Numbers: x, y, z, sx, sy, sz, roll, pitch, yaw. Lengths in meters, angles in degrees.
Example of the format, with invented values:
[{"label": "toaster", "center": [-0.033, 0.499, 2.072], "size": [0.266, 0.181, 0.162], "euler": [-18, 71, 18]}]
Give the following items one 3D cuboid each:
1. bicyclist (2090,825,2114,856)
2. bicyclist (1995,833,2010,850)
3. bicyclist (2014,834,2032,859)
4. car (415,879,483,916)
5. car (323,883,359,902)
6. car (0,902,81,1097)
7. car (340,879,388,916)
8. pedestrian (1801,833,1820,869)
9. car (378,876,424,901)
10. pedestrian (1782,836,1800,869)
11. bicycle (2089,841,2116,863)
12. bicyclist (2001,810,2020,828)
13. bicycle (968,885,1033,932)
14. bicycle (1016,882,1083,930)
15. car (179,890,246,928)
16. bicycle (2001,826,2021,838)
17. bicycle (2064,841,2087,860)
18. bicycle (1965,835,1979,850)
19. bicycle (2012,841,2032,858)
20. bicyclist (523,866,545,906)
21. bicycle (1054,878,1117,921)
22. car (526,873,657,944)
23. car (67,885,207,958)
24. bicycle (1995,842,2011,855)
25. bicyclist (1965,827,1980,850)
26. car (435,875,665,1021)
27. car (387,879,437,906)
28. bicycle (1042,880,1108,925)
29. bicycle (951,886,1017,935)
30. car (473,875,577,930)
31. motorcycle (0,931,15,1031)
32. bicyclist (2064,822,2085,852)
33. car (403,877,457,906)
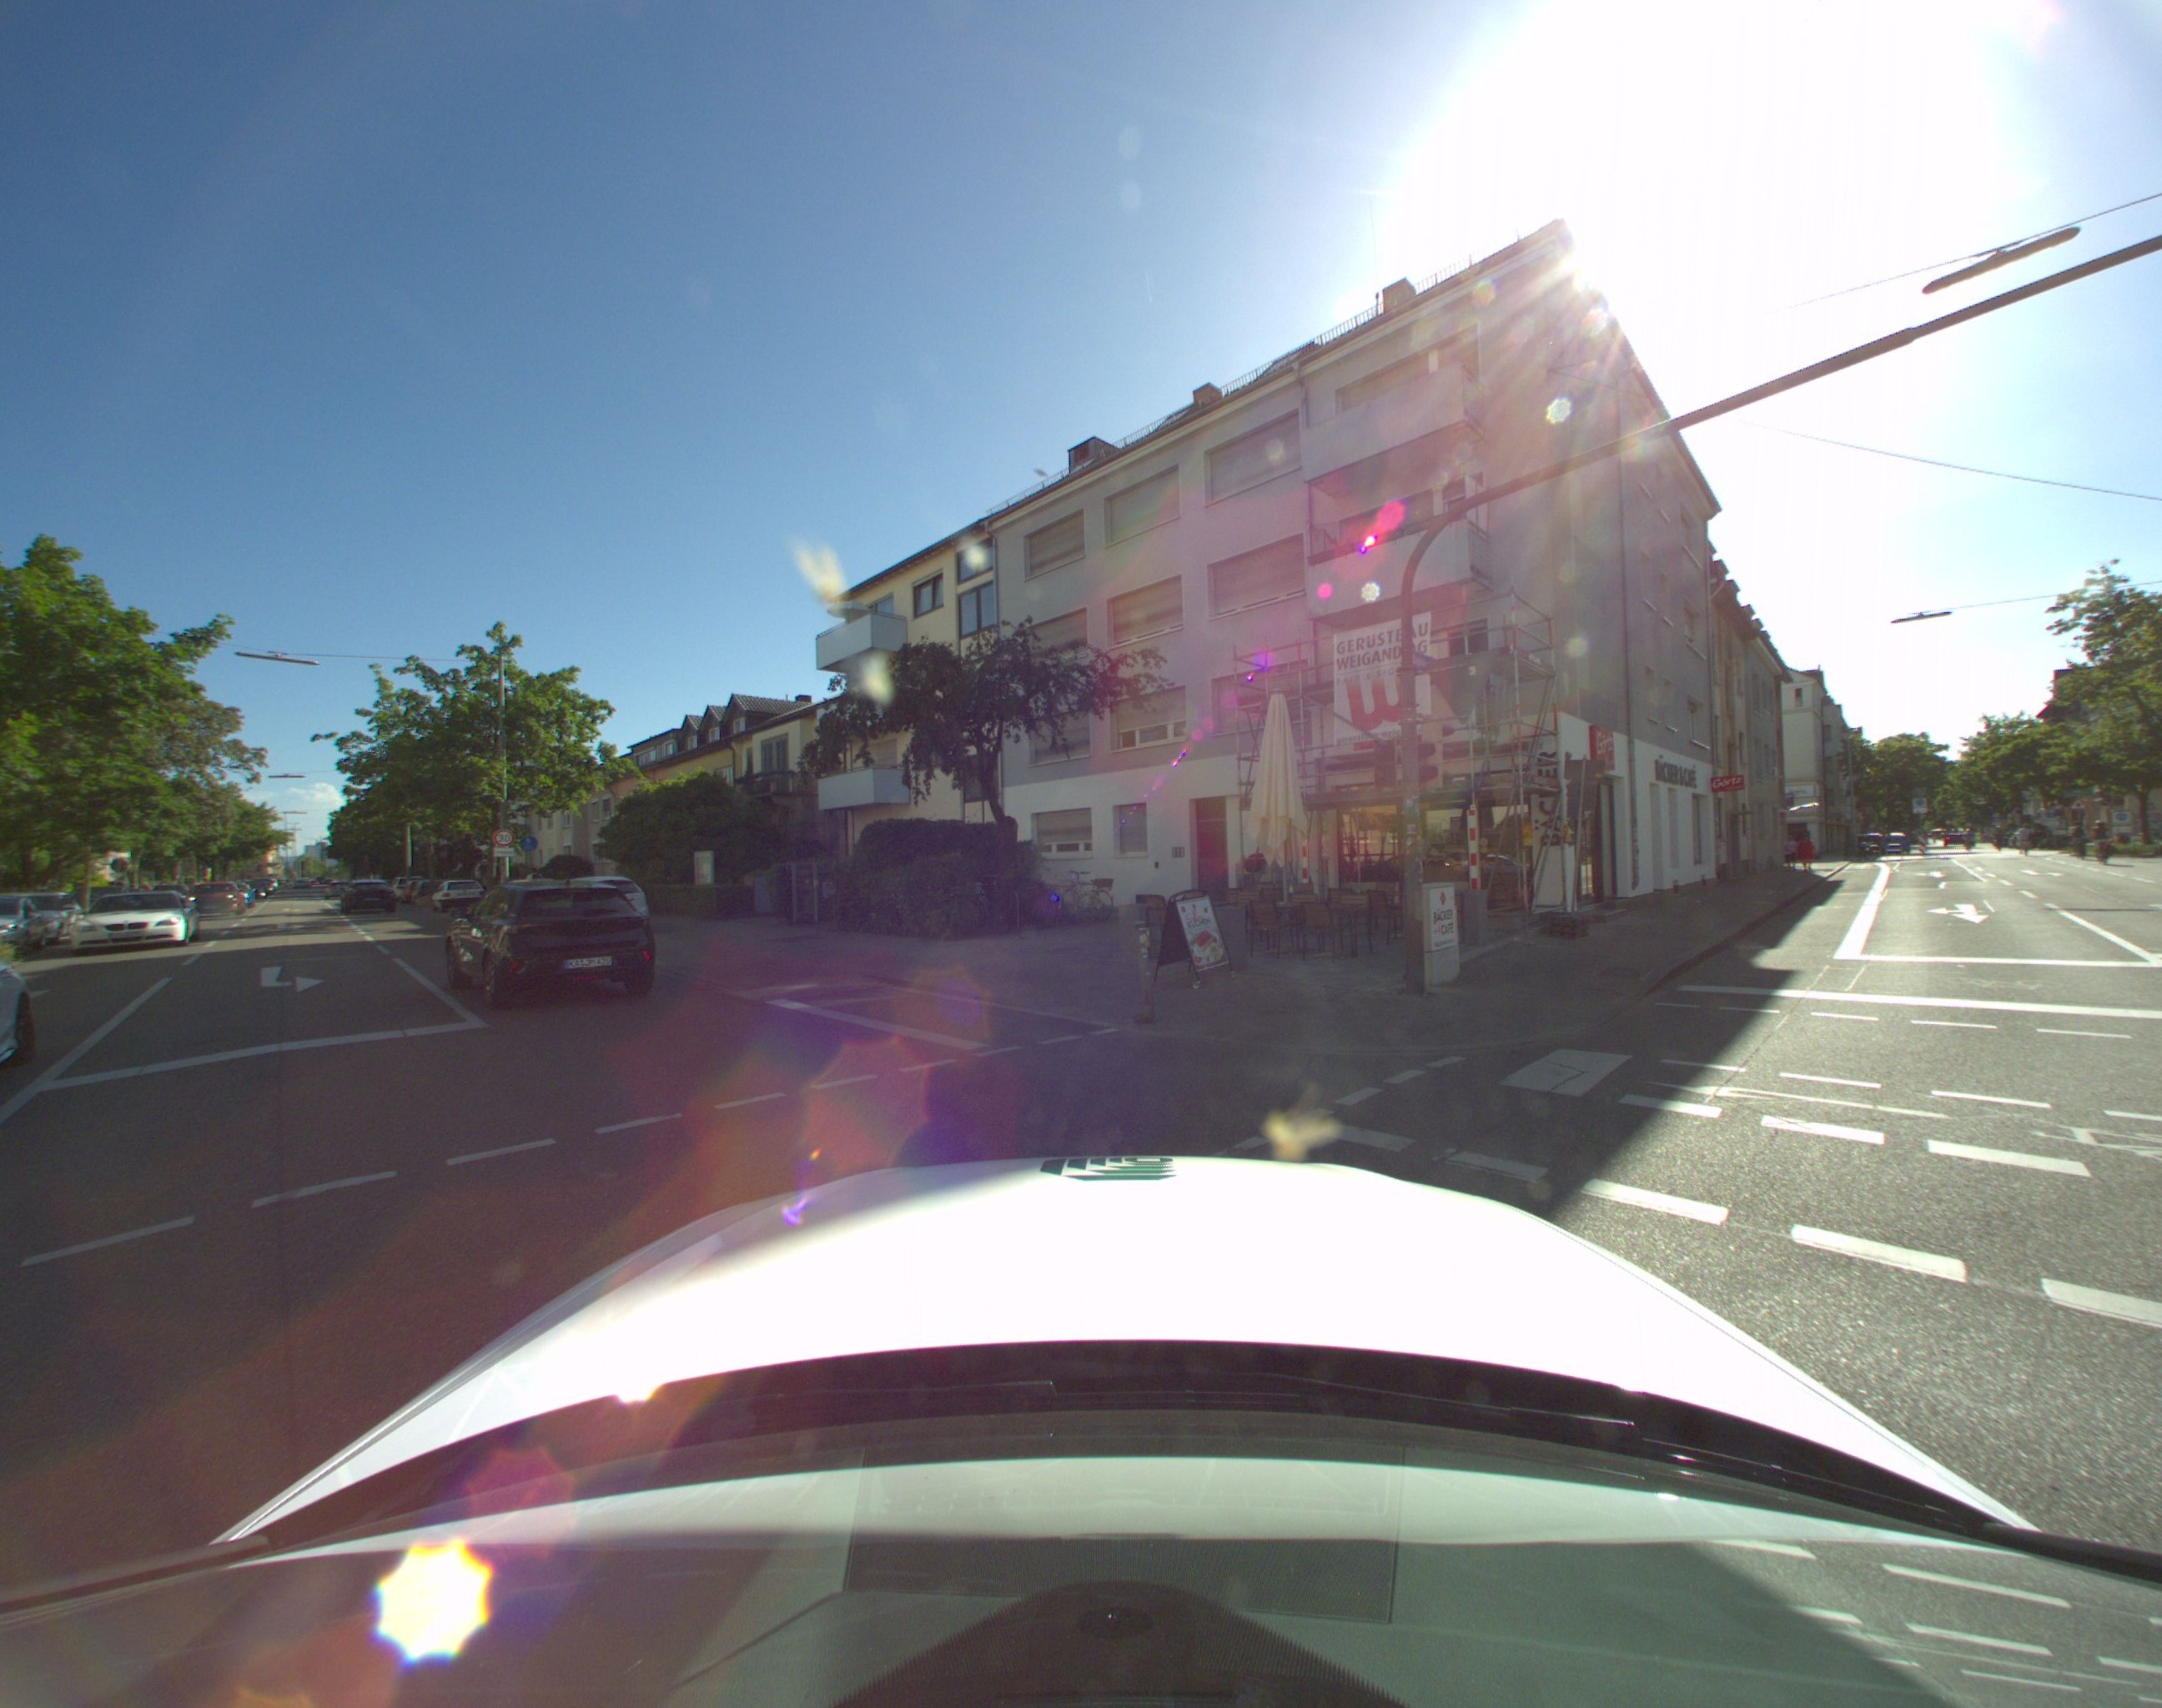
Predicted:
[{"label": "bicyclist", "center": [42.622, -0.564, 34.005], "size": [0.807, 1.262, 0.542], "euler": [-1, -1, -43]}, {"label": "bicyclist", "center": [67.333, -0.925, 59.504], "size": [0.598, 1.193, 0.685], "euler": [-1, -1, -43]}, {"label": "bicyclist", "center": [52.139, -0.410, 45.096], "size": [0.827, 1.382, 0.583], "euler": [-1, -1, -43]}, {"label": "car", "center": [-28.890, 1.954, 37.206], "size": [1.927, 1.430, 3.950], "euler": [-5, 2, -45]}, {"label": "car", "center": [-59.118, 3.065, 65.007], "size": [4.124, 1.433, 1.854], "euler": [-2, -1, 44]}, {"label": "car", "center": [-9.392, 1.241, 5.931], "size": [1.945, 1.435, 4.216], "euler": [-6, 3, -42]}, {"label": "car", "center": [-33.421, 2.008, 37.950], "size": [1.606, 1.566, 4.039], "euler": [-1, -2, -42]}, {"label": "pedestrian", "center": [32.847, -0.126, 36.669], "size": [0.571, 1.583, 0.713], "euler": [-2, -1, 40]}, {"label": "car", "center": [-45.192, 2.286, 54.072], "size": [1.927, 1.430, 3.950], "euler": [-5, 2, -45]}, {"label": "pedestrian", "center": [32.649, -0.082, 37.440], "size": [0.571, 1.467, 0.707], "euler": [-2, -1, 40]}, {"label": "bicycle", "center": [42.706, -0.103, 34.057], "size": [1.887, 0.866, 0.542], "euler": [-2, -1, -43]}, {"label": "bicyclist", "center": [72.491, -2.720, 63.513], "size": [1.217, 1.314, 0.848], "euler": [-1, 1, -45]}, {"label": "bicycle", "center": [-1.721, 1.144, 17.334], "size": [0.515, 0.940, 1.575], "euler": [-1, -1, -42]}, {"label": "bicycle", "center": [-0.687, 1.094, 17.430], "size": [0.515, 0.940, 1.575], "euler": [-1, -1, -42]}, {"label": "car", "center": [-42.037, 2.596, 39.507], "size": [1.826, 1.558, 4.197], "euler": [-4, 1, -43]}, {"label": "bicycle", "center": [72.475, -1.716, 63.490], "size": [2.321, 0.945, 0.848], "euler": [-2, 2, -45]}, {"label": "bicycle", "center": [47.757, -0.175, 39.126], "size": [1.887, 0.866, 0.542], "euler": [-2, -1, -43]}, {"label": "bicycle", "center": [68.036, -0.884, 62.172], "size": [1.806, 1.041, 0.626], "euler": [-1, -1, -45]}, {"label": "bicycle", "center": [52.172, -0.259, 45.138], "size": [1.887, 0.866, 0.614], "euler": [-2, -1, -43]}, {"label": "bicyclist", "center": [-21.864, 1.262, 32.536], "size": [0.804, 1.549, 0.558], "euler": [-1, 0, 45]}, {"label": "bicycle", "center": [0.091, 1.048, 18.992], "size": [0.515, 0.940, 1.575], "euler": [-1, -1, -42]}, {"label": "car", "center": [-12.523, 1.327, 20.720], "size": [1.927, 1.519, 3.950], "euler": [-3, 0, -45]}, {"label": "car", "center": [-24.339, 1.657, 21.163], "size": [1.826, 1.558, 4.197], "euler": [-4, 1, -43]}, {"label": "bicycle", "center": [67.378, -0.405, 59.522], "size": [1.887, 0.866, 0.685], "euler": [-2, -1, -43]}, {"label": "bicyclist", "center": [67.761, -1.176, 61.914], "size": [1.056, 1.669, 0.626], "euler": [-1, -1, -45]}, {"label": "car", "center": [-7.298, 1.104, 11.032], "size": [3.950, 1.558, 1.778], "euler": [-2, -1, 44]}, {"label": "car", "center": [-40.609, 2.325, 49.409], "size": [1.927, 1.430, 3.950], "euler": [-5, 2, -45]}, {"label": "bicycle", "center": [-0.147, 1.069, 18.124], "size": [0.515, 0.940, 1.575], "euler": [-1, -1, -42]}, {"label": "bicycle", "center": [-2.018, 1.148, 16.769], "size": [0.515, 0.940, 1.575], "euler": [-1, -1, -42]}, {"label": "car", "center": [-17.436, 1.472, 25.473], "size": [1.927, 1.430, 3.950], "euler": [-5, 2, -45]}, {"label": "motorcycle", "center": [-12.538, 1.483, 8.880], "size": [0.753, 1.134, 1.663], "euler": [-4, 1, -41]}, {"label": "bicyclist", "center": [47.747, -0.824, 39.147], "size": [0.827, 1.382, 0.542], "euler": [-1, -1, -43]}, {"label": "car", "center": [-37.016, 2.119, 46.252], "size": [1.927, 1.430, 3.950], "euler": [-5, 2, -45]}]
